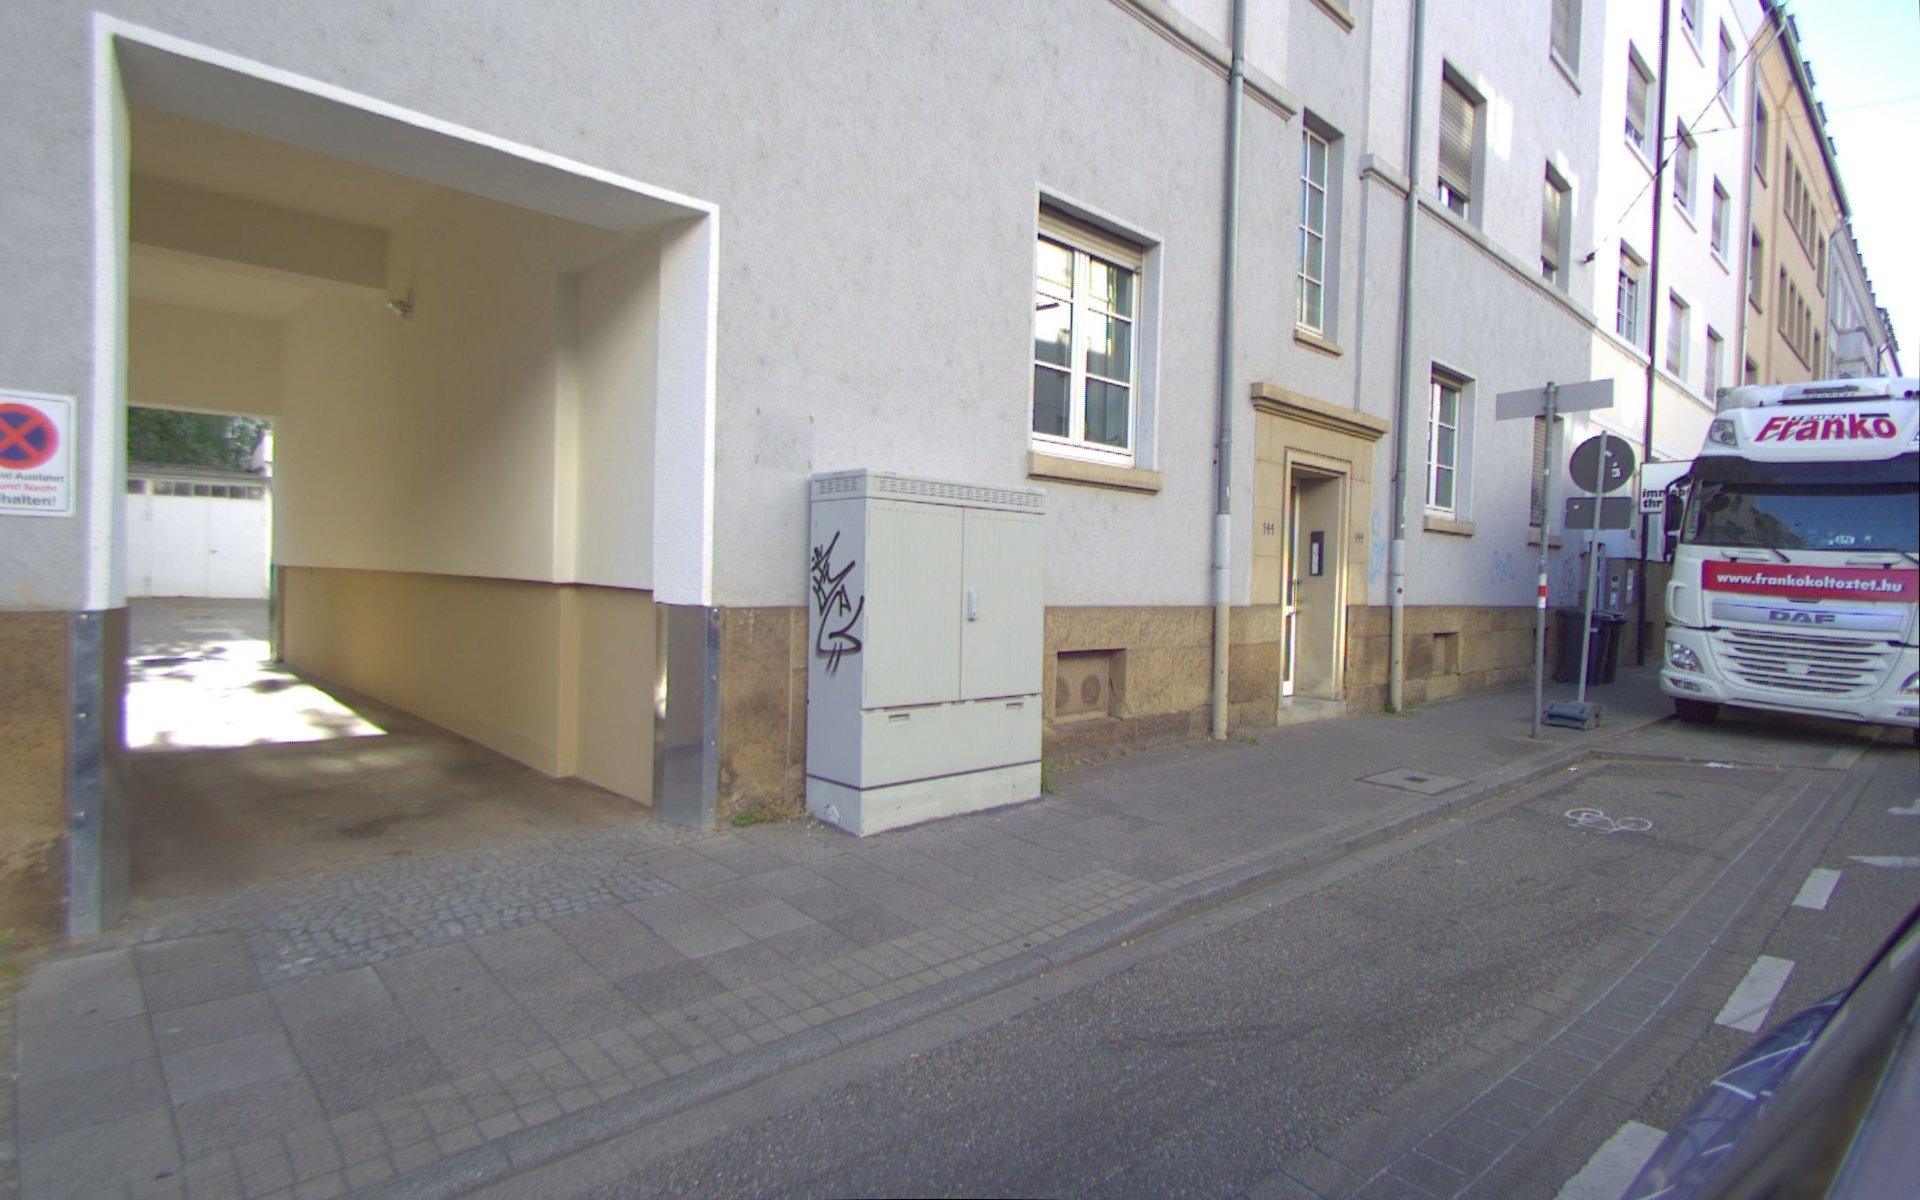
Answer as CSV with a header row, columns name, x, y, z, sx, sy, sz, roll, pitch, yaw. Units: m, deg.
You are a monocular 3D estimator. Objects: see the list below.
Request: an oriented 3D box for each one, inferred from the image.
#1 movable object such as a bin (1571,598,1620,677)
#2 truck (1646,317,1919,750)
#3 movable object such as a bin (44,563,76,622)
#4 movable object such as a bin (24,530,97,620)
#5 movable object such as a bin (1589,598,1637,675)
name,x,y,z,sx,sy,sz,roll,pitch,yaw
movable object such as a bin,9.160,0.525,14.585,0.511,1.106,0.488,0,0,45
truck,12.556,-0.609,13.860,11.511,4.012,2.894,0,0,-44
movable object such as a bin,-14.382,-0.121,16.166,0.366,0.919,0.420,0,3,-44
movable object such as a bin,-14.771,-0.414,16.622,0.874,1.409,0.758,0,4,-44
movable object such as a bin,9.643,0.528,14.945,0.511,1.106,0.488,0,0,45
